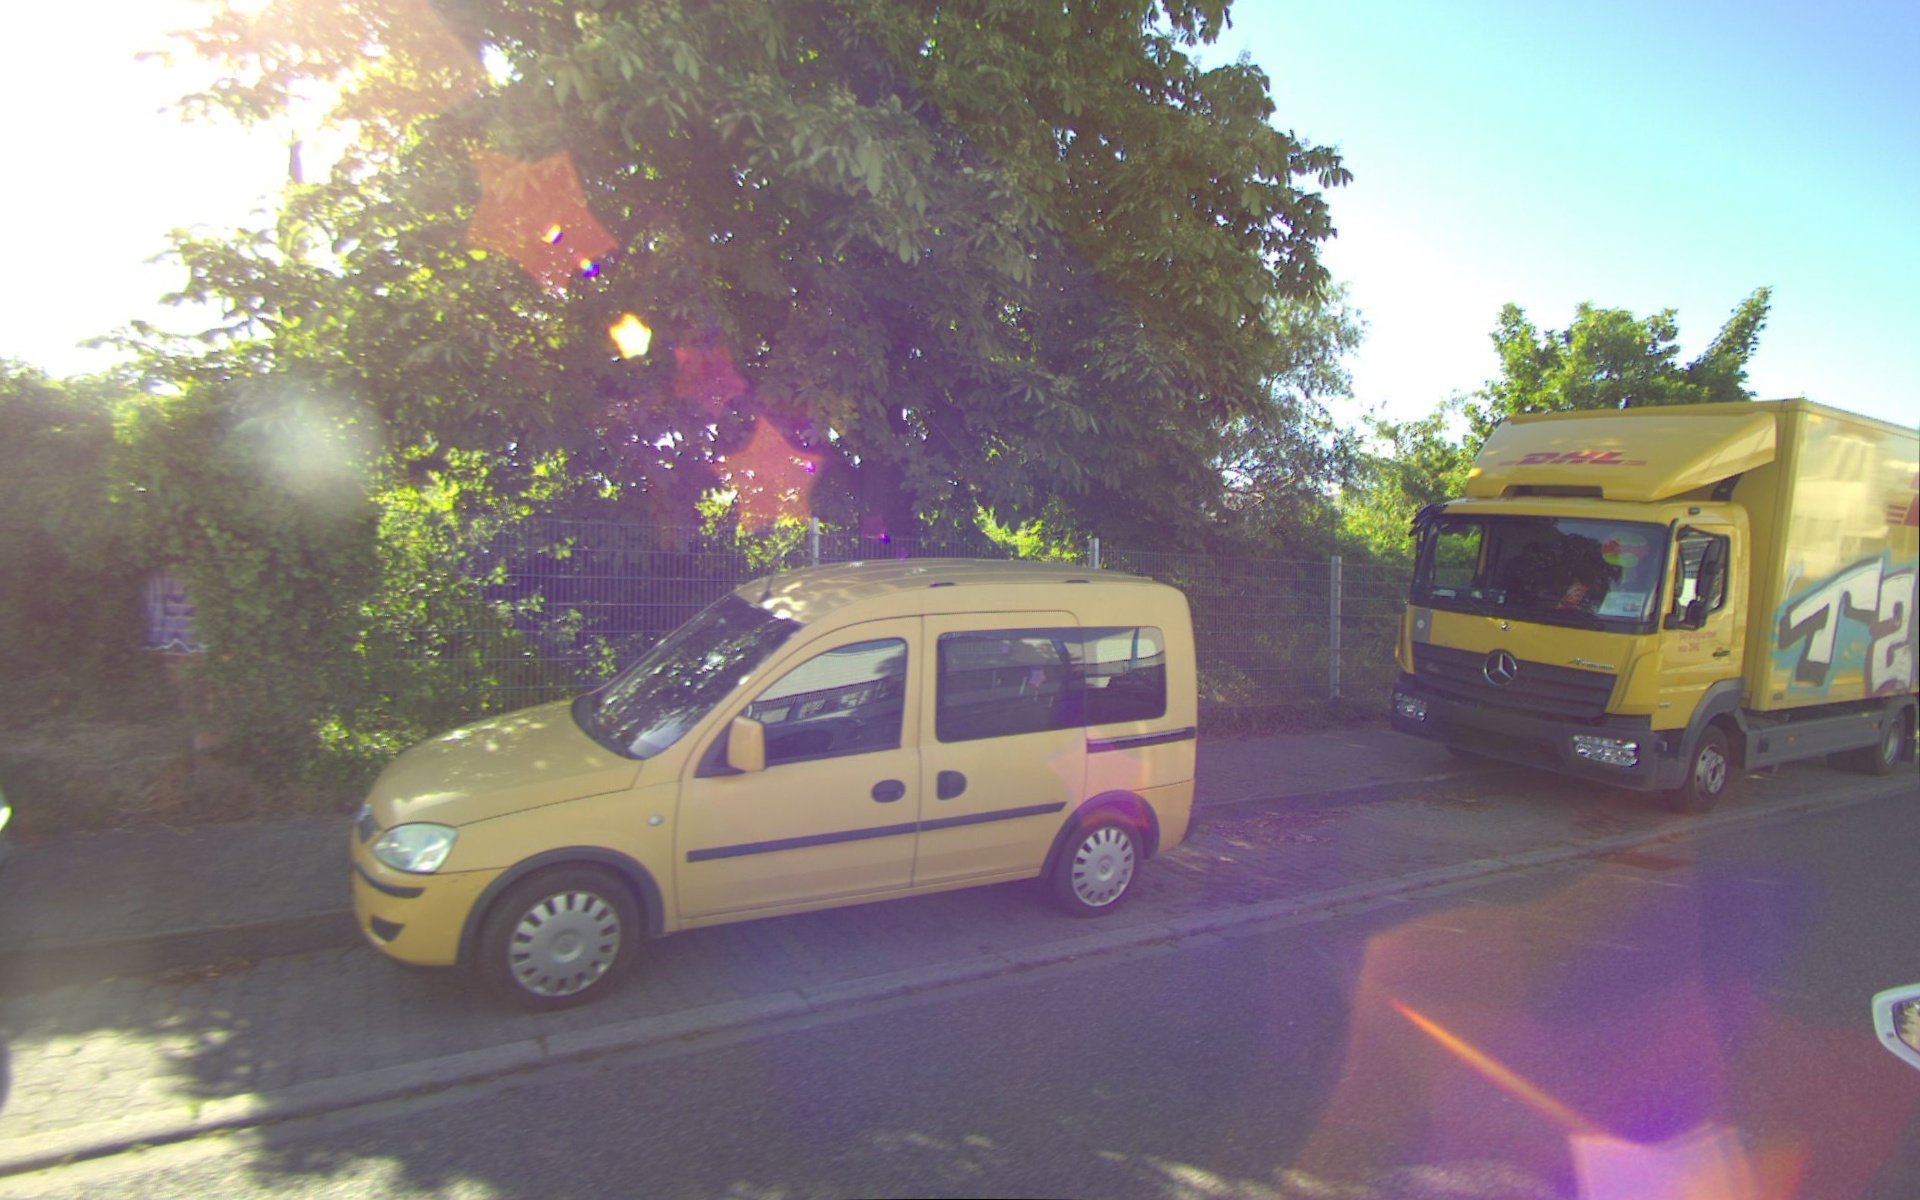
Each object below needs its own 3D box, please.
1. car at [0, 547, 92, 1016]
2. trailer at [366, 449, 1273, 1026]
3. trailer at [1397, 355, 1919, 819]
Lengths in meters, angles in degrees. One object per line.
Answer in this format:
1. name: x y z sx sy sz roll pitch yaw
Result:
1. car: -5.649 0.617 2.500 4.965 1.615 1.899 1 4 -30
2. trailer: -0.619 0.510 5.401 4.363 1.967 1.984 1 0 -30
3. trailer: 8.622 -0.035 10.973 8.070 3.489 2.975 1 0 -32
